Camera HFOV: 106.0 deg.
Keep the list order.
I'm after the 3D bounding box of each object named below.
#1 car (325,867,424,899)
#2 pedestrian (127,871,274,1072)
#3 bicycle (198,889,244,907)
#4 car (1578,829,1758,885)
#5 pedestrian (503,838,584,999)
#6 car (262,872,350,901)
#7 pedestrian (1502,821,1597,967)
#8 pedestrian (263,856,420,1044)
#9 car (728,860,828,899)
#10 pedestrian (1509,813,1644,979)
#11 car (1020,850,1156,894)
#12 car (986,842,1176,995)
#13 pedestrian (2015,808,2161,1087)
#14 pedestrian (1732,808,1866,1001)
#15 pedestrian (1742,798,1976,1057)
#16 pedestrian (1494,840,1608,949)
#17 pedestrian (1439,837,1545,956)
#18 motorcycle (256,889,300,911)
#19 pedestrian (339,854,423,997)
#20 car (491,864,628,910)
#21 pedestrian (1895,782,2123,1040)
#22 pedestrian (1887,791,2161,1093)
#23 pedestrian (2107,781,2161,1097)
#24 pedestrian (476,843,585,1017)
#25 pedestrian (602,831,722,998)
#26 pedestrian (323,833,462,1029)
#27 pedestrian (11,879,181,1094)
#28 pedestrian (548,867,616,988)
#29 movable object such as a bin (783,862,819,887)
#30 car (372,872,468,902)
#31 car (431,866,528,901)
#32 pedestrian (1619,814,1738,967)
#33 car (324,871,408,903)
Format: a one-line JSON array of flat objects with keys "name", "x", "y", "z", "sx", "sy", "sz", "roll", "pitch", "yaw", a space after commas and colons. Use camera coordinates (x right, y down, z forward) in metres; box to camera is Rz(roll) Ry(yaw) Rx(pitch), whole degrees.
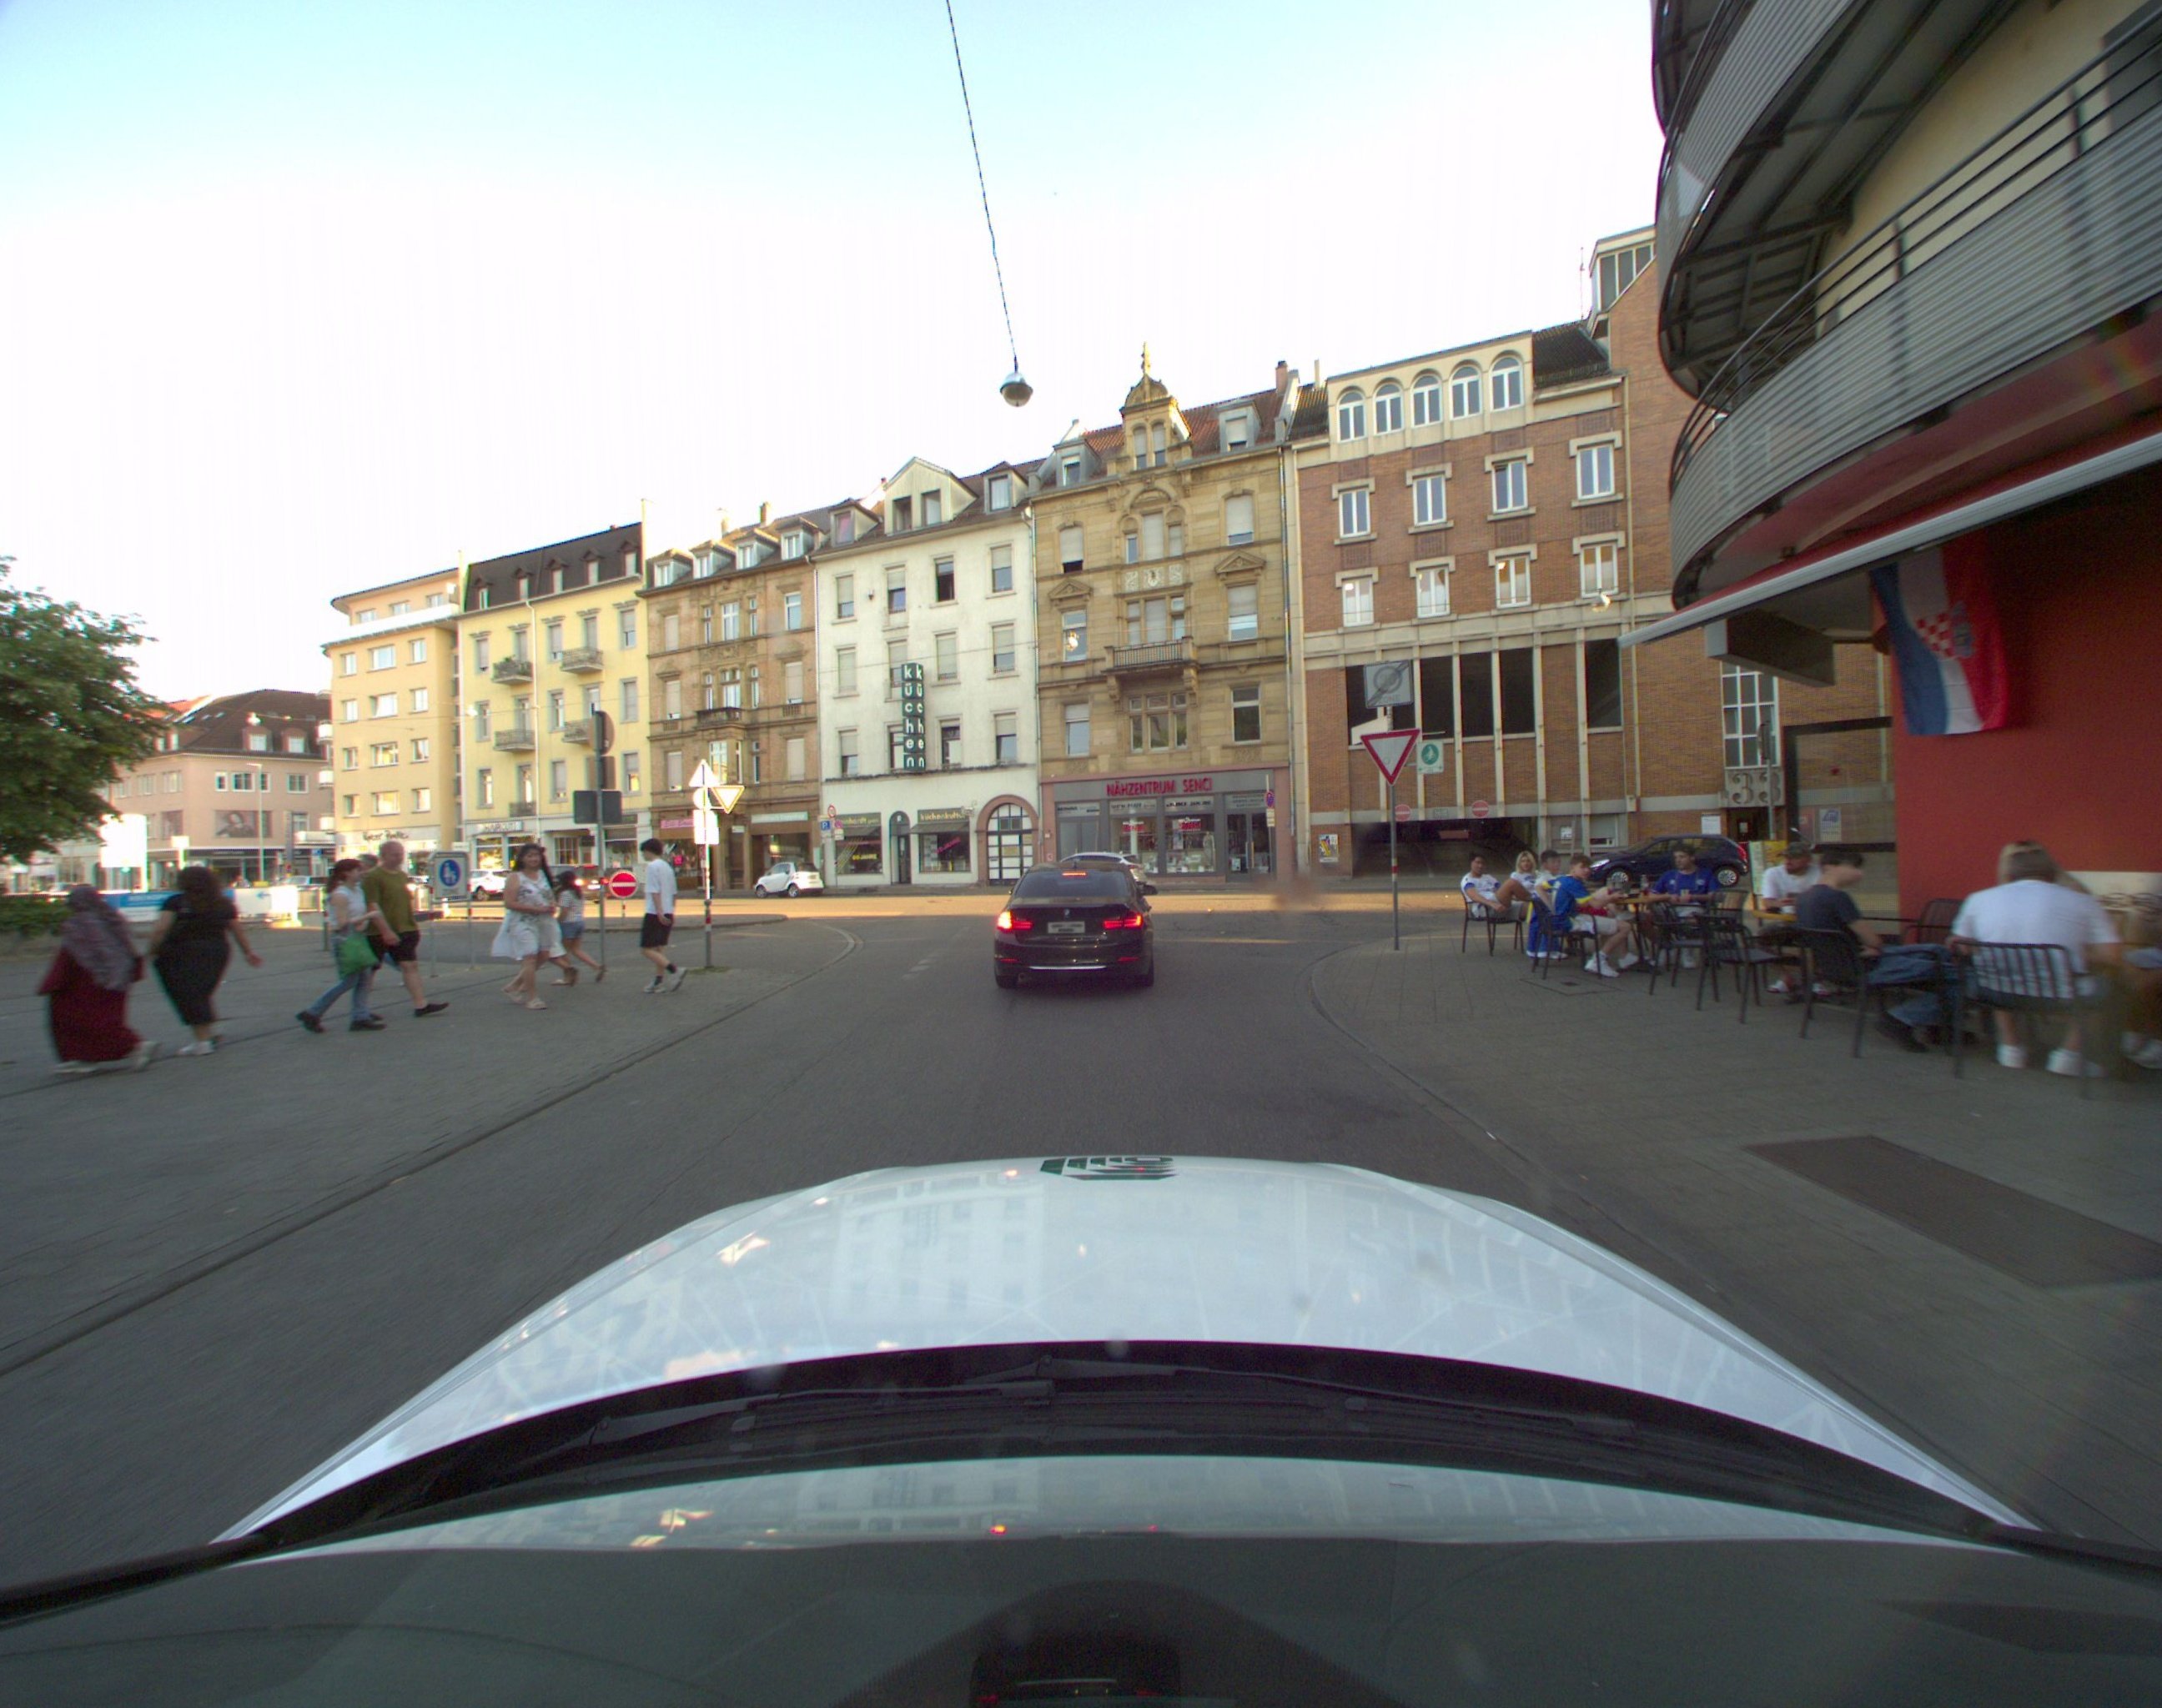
[{"name": "car", "x": -35.588, "y": 1.423, "z": 41.024, "sx": 4.188, "sy": 1.518, "sz": 1.824, "roll": 0, "pitch": 0, "yaw": 18}, {"name": "pedestrian", "x": -7.590, "y": 0.946, "z": 7.026, "sx": 0.721, "sy": 1.582, "sz": 0.804, "roll": -1, "pitch": 0, "yaw": 39}, {"name": "bicycle", "x": -56.584, "y": 2.883, "z": 53.608, "sx": 0.753, "sy": 1.112, "sz": 1.899, "roll": -2, "pitch": -1, "yaw": 19}, {"name": "car", "x": 17.129, "y": 0.099, "z": 24.013, "sx": 3.952, "sy": 1.520, "sz": 2.011, "roll": -1, "pitch": 1, "yaw": 23}, {"name": "pedestrian", "x": -6.554, "y": 0.746, "z": 9.975, "sx": 0.784, "sy": 1.875, "sz": 0.707, "roll": 0, "pitch": 0, "yaw": -31}, {"name": "car", "x": -47.076, "y": 1.989, "z": 49.474, "sx": 4.747, "sy": 1.613, "sz": 2.010, "roll": -2, "pitch": 0, "yaw": 21}, {"name": "pedestrian", "x": 5.158, "y": 0.429, "z": 9.007, "sx": 0.707, "sy": 1.536, "sz": 0.692, "roll": -2, "pitch": -1, "yaw": 16}, {"name": "pedestrian", "x": -6.996, "y": 0.861, "z": 7.758, "sx": 0.711, "sy": 1.668, "sz": 0.881, "roll": 0, "pitch": 0, "yaw": -7}, {"name": "car", "x": -13.257, "y": 1.076, "z": 35.634, "sx": 3.951, "sy": 1.585, "sz": 1.715, "roll": 0, "pitch": 0, "yaw": 23}, {"name": "pedestrian", "x": 4.998, "y": 0.400, "z": 8.275, "sx": 0.710, "sy": 1.535, "sz": 0.853, "roll": -6, "pitch": 0, "yaw": 0}, {"name": "car", "x": 0.254, "y": 0.659, "z": 30.346, "sx": 4.627, "sy": 1.535, "sz": 2.010, "roll": 0, "pitch": 0, "yaw": 21}, {"name": "car", "x": 0.034, "y": 0.677, "z": 10.369, "sx": 1.882, "sy": 1.492, "sz": 4.205, "roll": -2, "pitch": -1, "yaw": 1}, {"name": "pedestrian", "x": 6.173, "y": 0.494, "z": 4.648, "sx": 0.766, "sy": 1.504, "sz": 0.782, "roll": -2, "pitch": 0, "yaw": -4}, {"name": "pedestrian", "x": 6.091, "y": 0.399, "z": 6.953, "sx": 0.743, "sy": 1.536, "sz": 0.652, "roll": -1, "pitch": 0, "yaw": 31}, {"name": "pedestrian", "x": 5.114, "y": 0.448, "z": 5.404, "sx": 0.711, "sy": 1.535, "sz": 0.758, "roll": -5, "pitch": 0, "yaw": -5}, {"name": "pedestrian", "x": 5.892, "y": 0.501, "z": 10.240, "sx": 0.687, "sy": 1.282, "sz": 0.959, "roll": -2, "pitch": -2, "yaw": -27}, {"name": "pedestrian", "x": 5.099, "y": 0.508, "z": 10.133, "sx": 0.772, "sy": 1.382, "sz": 0.831, "roll": -2, "pitch": -1, "yaw": -27}, {"name": "motorcycle", "x": -51.504, "y": 2.931, "z": 52.244, "sx": 0.707, "sy": 1.263, "sz": 1.827, "roll": -2, "pitch": 1, "yaw": 20}, {"name": "pedestrian", "x": -8.988, "y": 0.877, "z": 10.488, "sx": 0.690, "sy": 1.746, "sz": 0.709, "roll": 0, "pitch": 0, "yaw": -31}, {"name": "car", "x": -20.776, "y": 1.276, "z": 32.489, "sx": 4.566, "sy": 1.652, "sz": 2.107, "roll": 0, "pitch": 1, "yaw": 17}, {"name": "pedestrian", "x": 6.041, "y": 0.347, "z": 5.340, "sx": 0.672, "sy": 1.536, "sz": 0.654, "roll": -4, "pitch": 0, "yaw": -4}, {"name": "pedestrian", "x": 5.309, "y": 0.456, "z": 4.628, "sx": 0.648, "sy": 1.527, "sz": 0.699, "roll": -5, "pitch": 0, "yaw": -6}, {"name": "pedestrian", "x": 5.693, "y": 0.411, "z": 3.859, "sx": 0.849, "sy": 1.536, "sz": 0.678, "roll": -1, "pitch": 0, "yaw": -5}, {"name": "pedestrian", "x": -6.113, "y": 0.789, "z": 9.046, "sx": 0.888, "sy": 1.803, "sz": 0.706, "roll": 0, "pitch": 0, "yaw": -43}, {"name": "pedestrian", "x": -4.980, "y": 0.671, "z": 9.699, "sx": 0.878, "sy": 1.853, "sz": 0.991, "roll": -1, "pitch": 0, "yaw": 39}, {"name": "pedestrian", "x": -7.023, "y": 0.736, "z": 8.328, "sx": 0.705, "sy": 1.876, "sz": 0.857, "roll": -1, "pitch": 0, "yaw": 26}, {"name": "pedestrian", "x": -7.687, "y": 0.983, "z": 6.393, "sx": 0.682, "sy": 1.542, "sz": 0.587, "roll": 0, "pitch": 0, "yaw": -31}, {"name": "pedestrian", "x": -6.430, "y": 0.917, "z": 10.515, "sx": 0.718, "sy": 1.486, "sz": 0.598, "roll": 0, "pitch": 0, "yaw": -31}, {"name": "movable object such as a bin", "x": -13.569, "y": 0.985, "z": 39.438, "sx": 1.381, "sy": 1.186, "sz": 0.874, "roll": -2, "pitch": 0, "yaw": 22}, {"name": "car", "x": -36.371, "y": 1.790, "z": 44.816, "sx": 4.810, "sy": 1.543, "sz": 2.033, "roll": 0, "pitch": 0, "yaw": 23}, {"name": "car", "x": -31.391, "y": 1.508, "z": 42.497, "sx": 4.603, "sy": 1.745, "sz": 1.898, "roll": 0, "pitch": 0, "yaw": 22}, {"name": "pedestrian", "x": 6.411, "y": 0.368, "z": 8.753, "sx": 0.718, "sy": 1.536, "sz": 0.844, "roll": 0, "pitch": 0, "yaw": -36}, {"name": "car", "x": -41.376, "y": 1.882, "z": 47.126, "sx": 4.355, "sy": 1.762, "sz": 1.884, "roll": 0, "pitch": 0, "yaw": 22}]
